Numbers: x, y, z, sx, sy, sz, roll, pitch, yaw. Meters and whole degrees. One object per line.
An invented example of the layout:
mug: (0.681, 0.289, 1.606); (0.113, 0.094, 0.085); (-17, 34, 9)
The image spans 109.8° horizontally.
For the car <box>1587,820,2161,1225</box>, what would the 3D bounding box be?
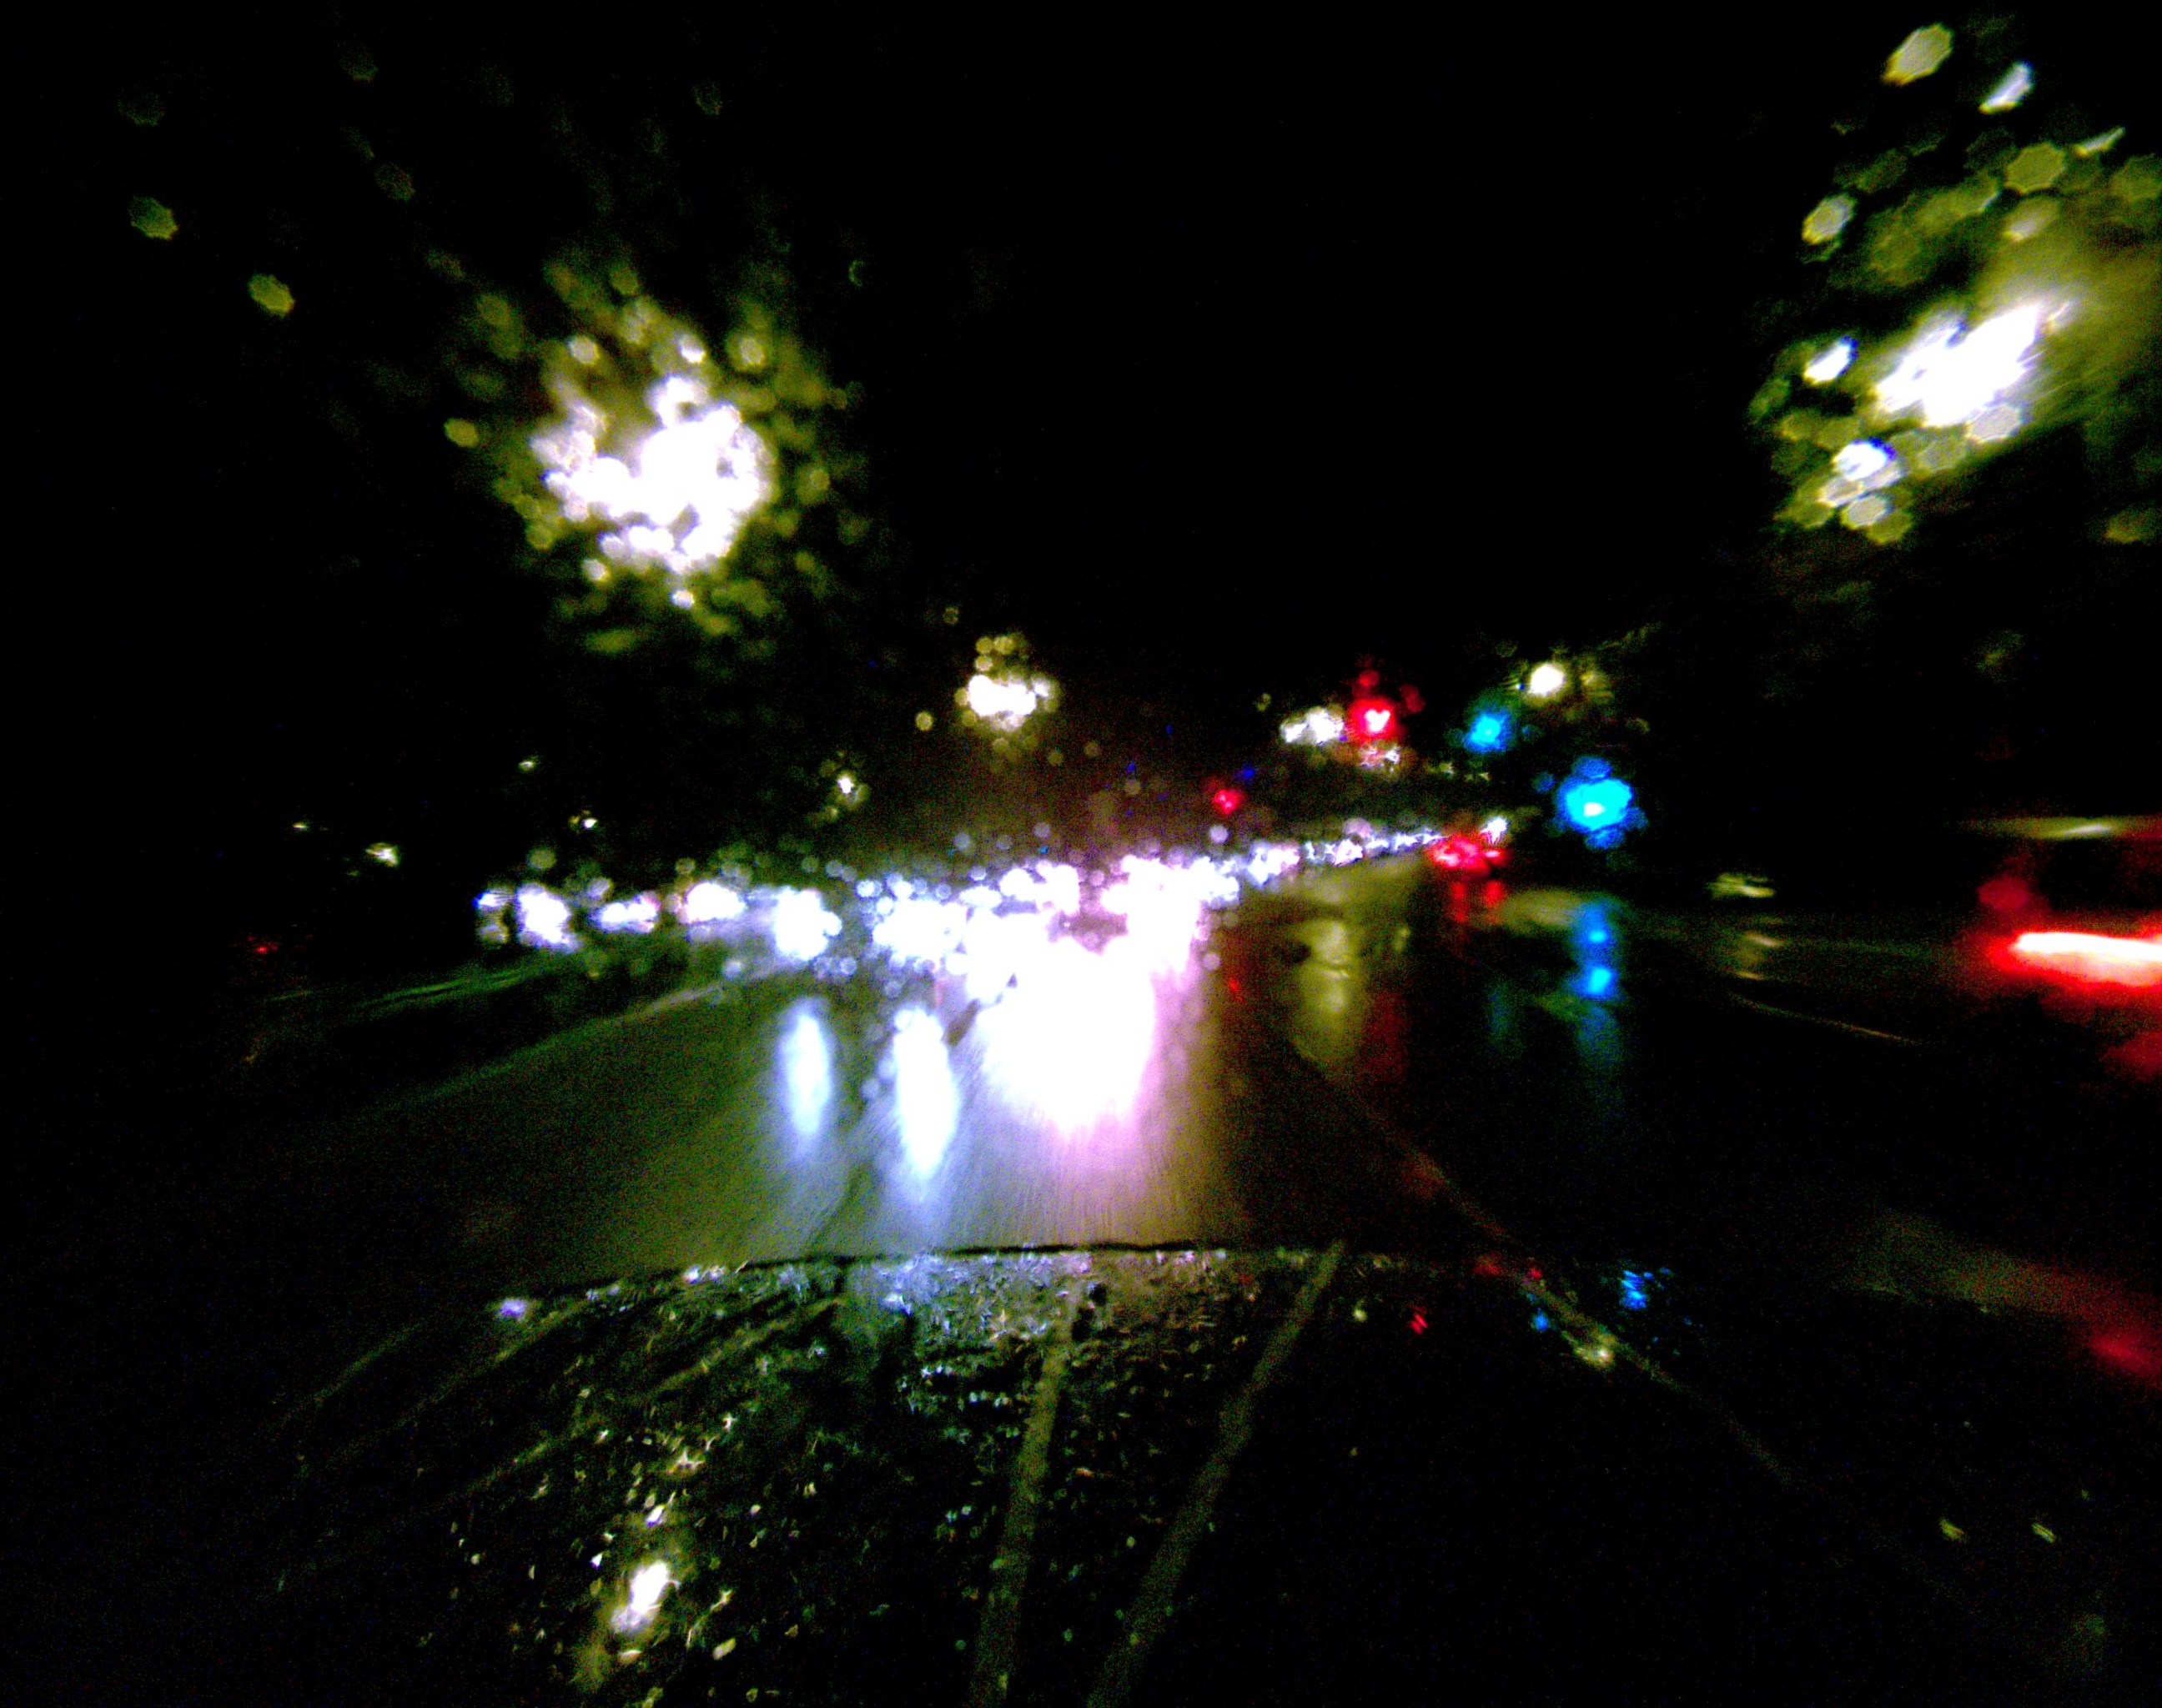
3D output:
car: (5.849, 0.667, 5.336); (2.003, 1.665, 4.620); (-3, 0, 9)

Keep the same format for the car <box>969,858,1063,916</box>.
car: (-1.996, 1.002, 24.676); (2.045, 1.610, 4.290); (-3, 0, 8)

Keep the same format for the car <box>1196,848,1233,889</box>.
car: (8.485, 0.859, 48.161); (1.997, 2.003, 4.000); (-8, 3, 11)

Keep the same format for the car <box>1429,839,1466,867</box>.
car: (22.692, -0.059, 47.140); (1.987, 1.595, 4.842); (-1, 0, 25)

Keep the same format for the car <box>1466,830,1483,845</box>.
car: (54.584, -2.280, 105.329); (1.739, 1.845, 4.007); (-3, 0, 31)

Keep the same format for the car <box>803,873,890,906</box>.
car: (-12.534, 1.906, 40.660); (4.108, 1.630, 2.003); (-2, 0, 26)

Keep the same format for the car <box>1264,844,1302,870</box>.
car: (16.912, 0.266, 63.624); (1.995, 2.002, 4.007); (-3, 0, 30)

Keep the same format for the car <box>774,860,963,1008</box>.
car: (-2.898, 0.986, 11.350); (1.928, 1.704, 4.237); (-1, 0, -5)

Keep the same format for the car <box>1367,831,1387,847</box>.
car: (40.833, -2.053, 104.827); (1.865, 2.002, 4.007); (-3, 0, 32)

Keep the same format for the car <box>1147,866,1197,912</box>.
car: (4.074, 1.513, 33.603); (1.304, 1.519, 3.049); (-16, -3, 17)

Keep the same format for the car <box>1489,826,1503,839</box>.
car: (64.876, -3.390, 118.703); (1.739, 1.845, 4.007); (-3, 0, 31)

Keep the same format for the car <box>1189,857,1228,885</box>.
car: (10.167, 1.318, 60.543); (1.832, 2.002, 4.007); (-3, 0, 27)

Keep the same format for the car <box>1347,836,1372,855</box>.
car: (31.236, -0.988, 85.121); (1.865, 2.002, 4.007); (-3, 0, 31)

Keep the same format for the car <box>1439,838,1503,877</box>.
car: (17.345, 0.162, 34.032); (1.987, 1.595, 4.841); (-1, 0, 21)

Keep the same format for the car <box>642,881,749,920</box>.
car: (-17.814, 2.127, 35.068); (4.770, 1.630, 2.003); (-2, 0, 29)

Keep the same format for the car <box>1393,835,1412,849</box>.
car: (48.583, -1.758, 114.776); (1.865, 2.002, 4.007); (-3, 0, 32)

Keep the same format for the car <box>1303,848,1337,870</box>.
car: (23.483, 0.444, 74.581); (1.865, 2.002, 4.008); (-3, 0, 36)

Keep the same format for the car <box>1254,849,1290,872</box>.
car: (18.133, 0.626, 71.931); (1.995, 2.002, 4.008); (-3, 0, 33)

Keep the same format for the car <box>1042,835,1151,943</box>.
car: (0.497, 0.694, 17.787); (1.997, 2.003, 4.000); (-4, 3, 8)

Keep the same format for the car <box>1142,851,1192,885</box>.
car: (5.635, 0.907, 49.440); (1.866, 2.002, 4.007); (-3, 0, 27)

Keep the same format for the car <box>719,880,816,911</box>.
car: (-15.531, 2.042, 37.591); (4.534, 1.400, 2.003); (-2, 0, 29)

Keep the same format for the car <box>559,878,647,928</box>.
car: (-23.923, 2.459, 37.996); (3.991, 2.003, 1.765); (-6, 3, 30)

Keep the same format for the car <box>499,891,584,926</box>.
car: (-29.401, 2.992, 41.407); (4.336, 1.630, 2.003); (-4, 0, 29)

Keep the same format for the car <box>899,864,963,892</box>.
car: (-10.561, 1.666, 53.689); (4.262, 1.688, 1.999); (-3, 0, -9)
